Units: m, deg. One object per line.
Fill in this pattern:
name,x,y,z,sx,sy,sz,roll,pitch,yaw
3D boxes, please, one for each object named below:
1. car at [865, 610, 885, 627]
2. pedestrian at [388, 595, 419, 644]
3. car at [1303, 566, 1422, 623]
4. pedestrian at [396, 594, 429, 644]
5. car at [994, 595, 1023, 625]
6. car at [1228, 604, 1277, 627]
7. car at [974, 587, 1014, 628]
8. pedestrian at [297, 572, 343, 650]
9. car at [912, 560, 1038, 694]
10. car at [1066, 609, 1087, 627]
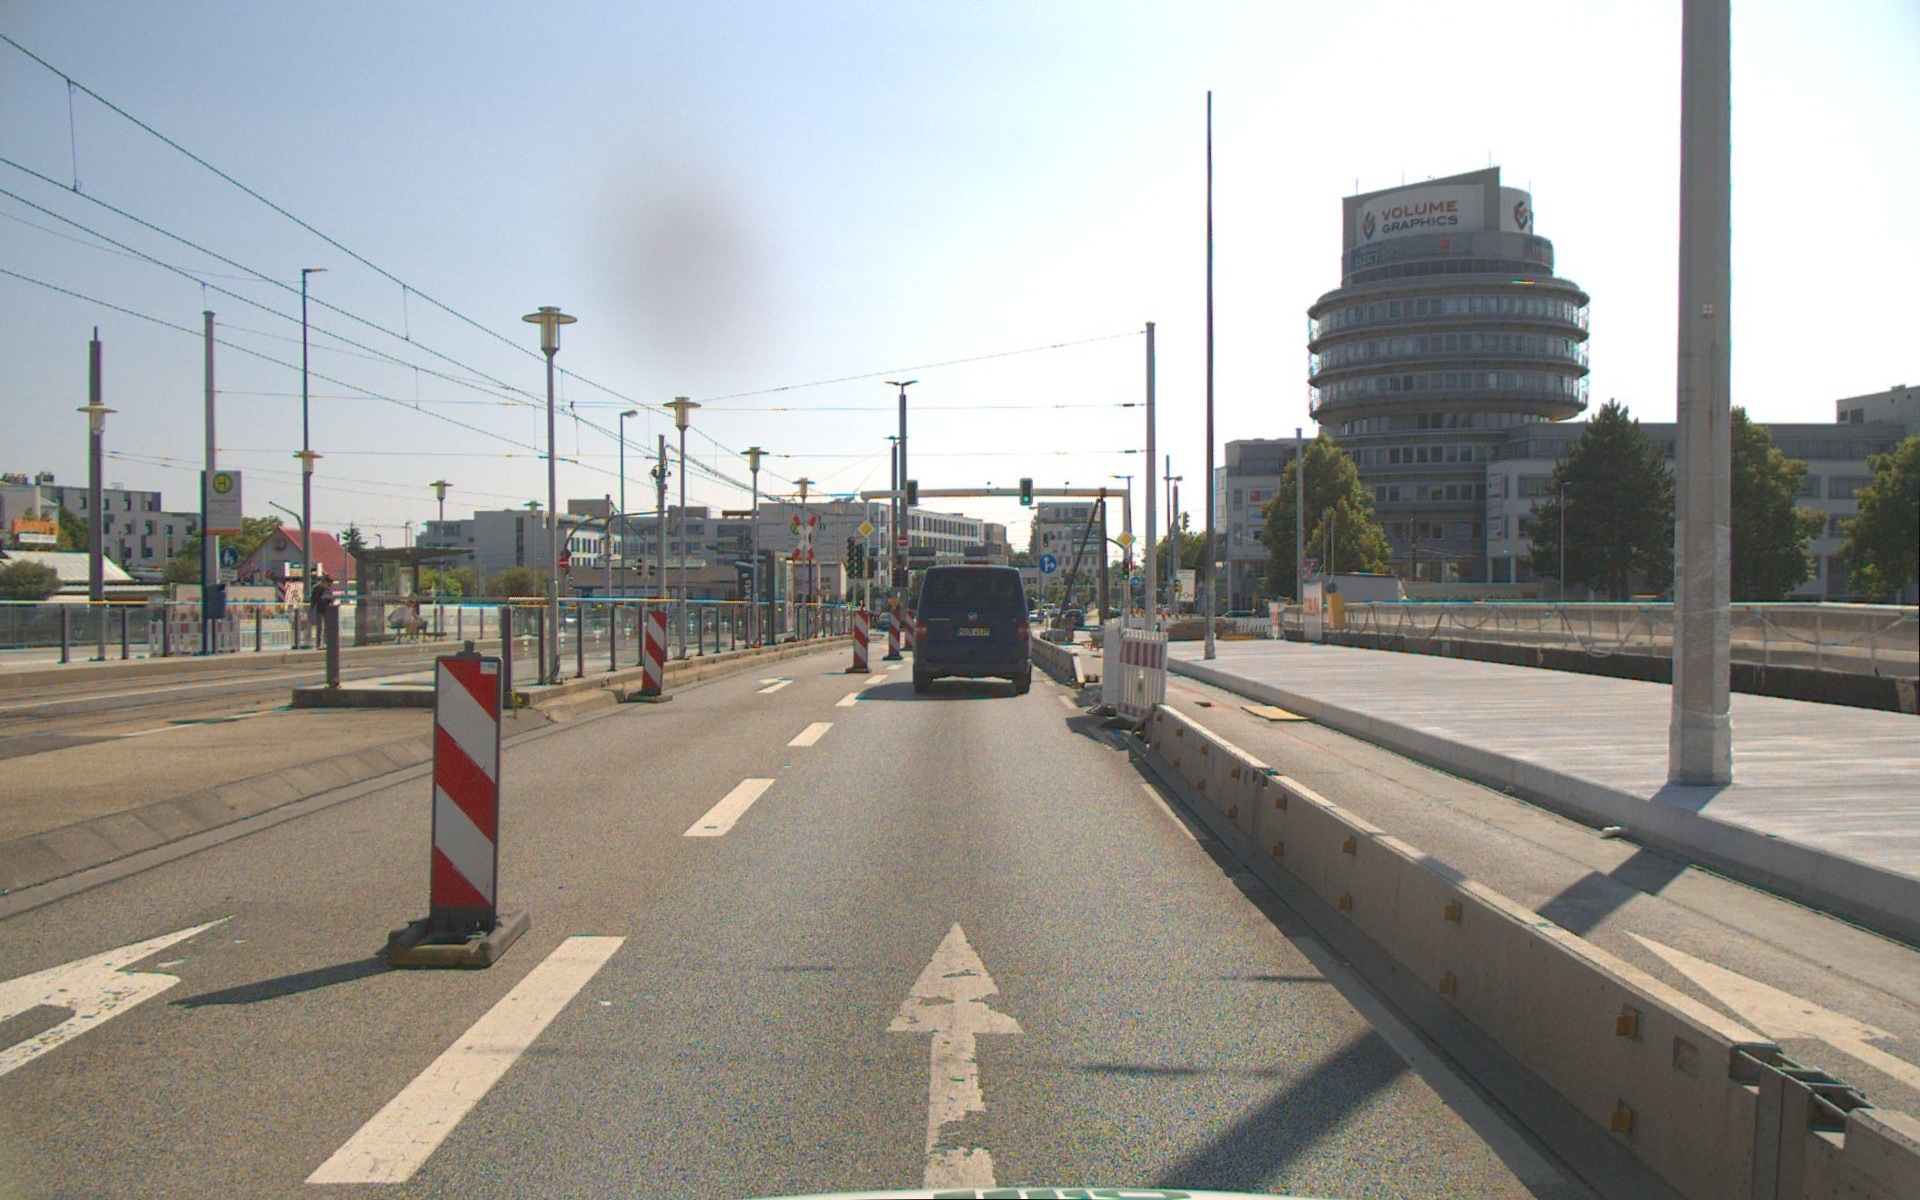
car,-8.094,1.737,157.186,1.711,1.512,4.000,-1,0,0
pedestrian,-14.555,0.510,43.283,0.634,1.296,0.453,0,0,4
car,21.559,-0.300,88.631,5.858,2.937,2.335,1,1,-18
pedestrian,-14.521,0.501,43.871,0.634,1.296,0.697,0,0,4
car,3.014,0.608,102.495,1.611,1.758,3.719,1,0,3
car,23.944,1.255,135.454,3.734,1.829,1.681,1,1,1
car,1.572,0.317,74.455,1.611,1.758,4.002,1,0,3
pedestrian,-14.032,0.243,36.269,0.646,1.683,0.740,0,0,11
car,0.236,0.378,26.888,1.849,1.968,4.000,1,1,0
car,9.840,1.516,140.469,1.708,1.501,3.886,0,0,3
